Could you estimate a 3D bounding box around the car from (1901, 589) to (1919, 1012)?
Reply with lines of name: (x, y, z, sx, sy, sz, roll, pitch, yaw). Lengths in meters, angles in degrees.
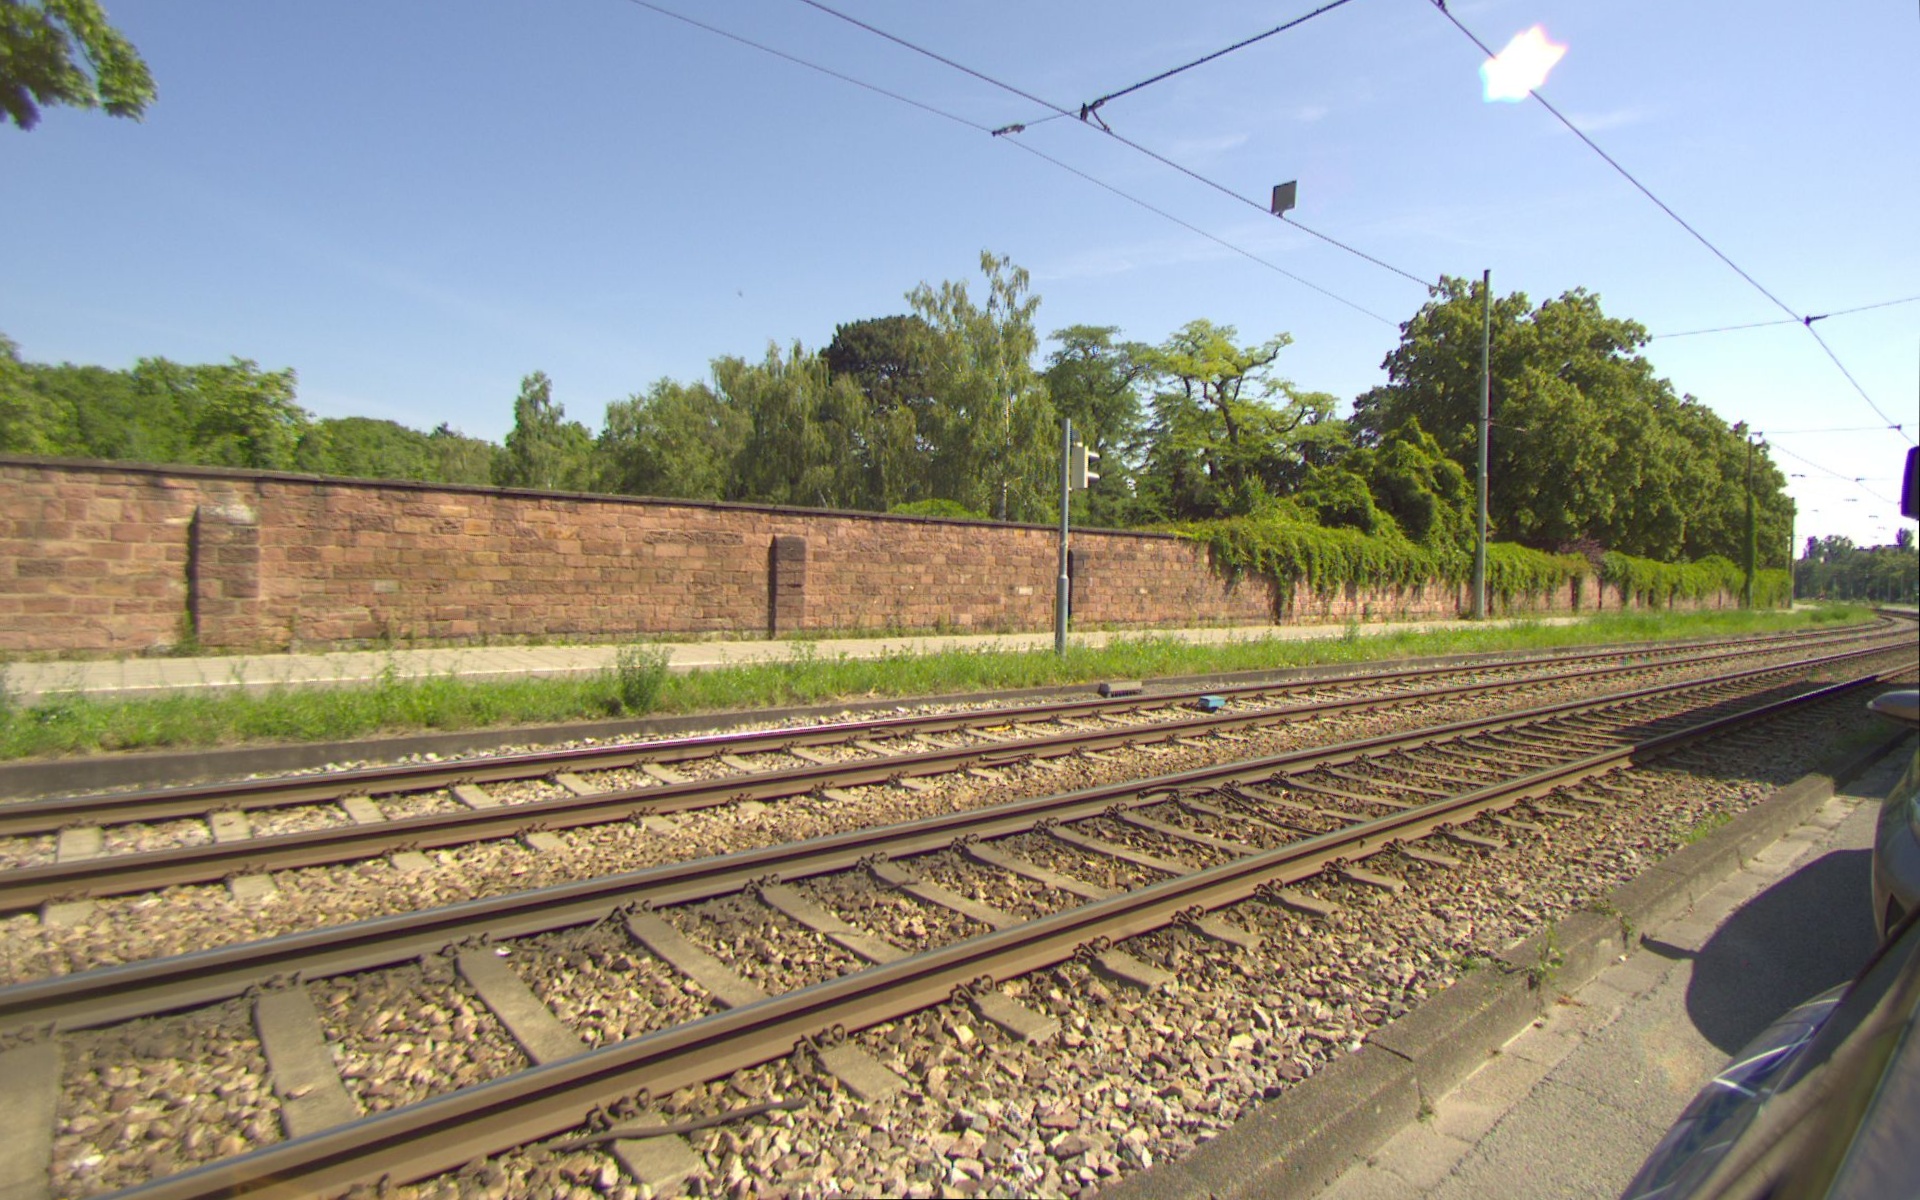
car: (5.133, 0.660, 4.037, 3.930, 1.448, 1.573, 0, 2, -41)

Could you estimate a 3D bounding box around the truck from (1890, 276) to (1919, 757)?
truck: (14.244, -0.637, 12.056, 14.652, 3.927, 2.934, 0, 2, -41)
